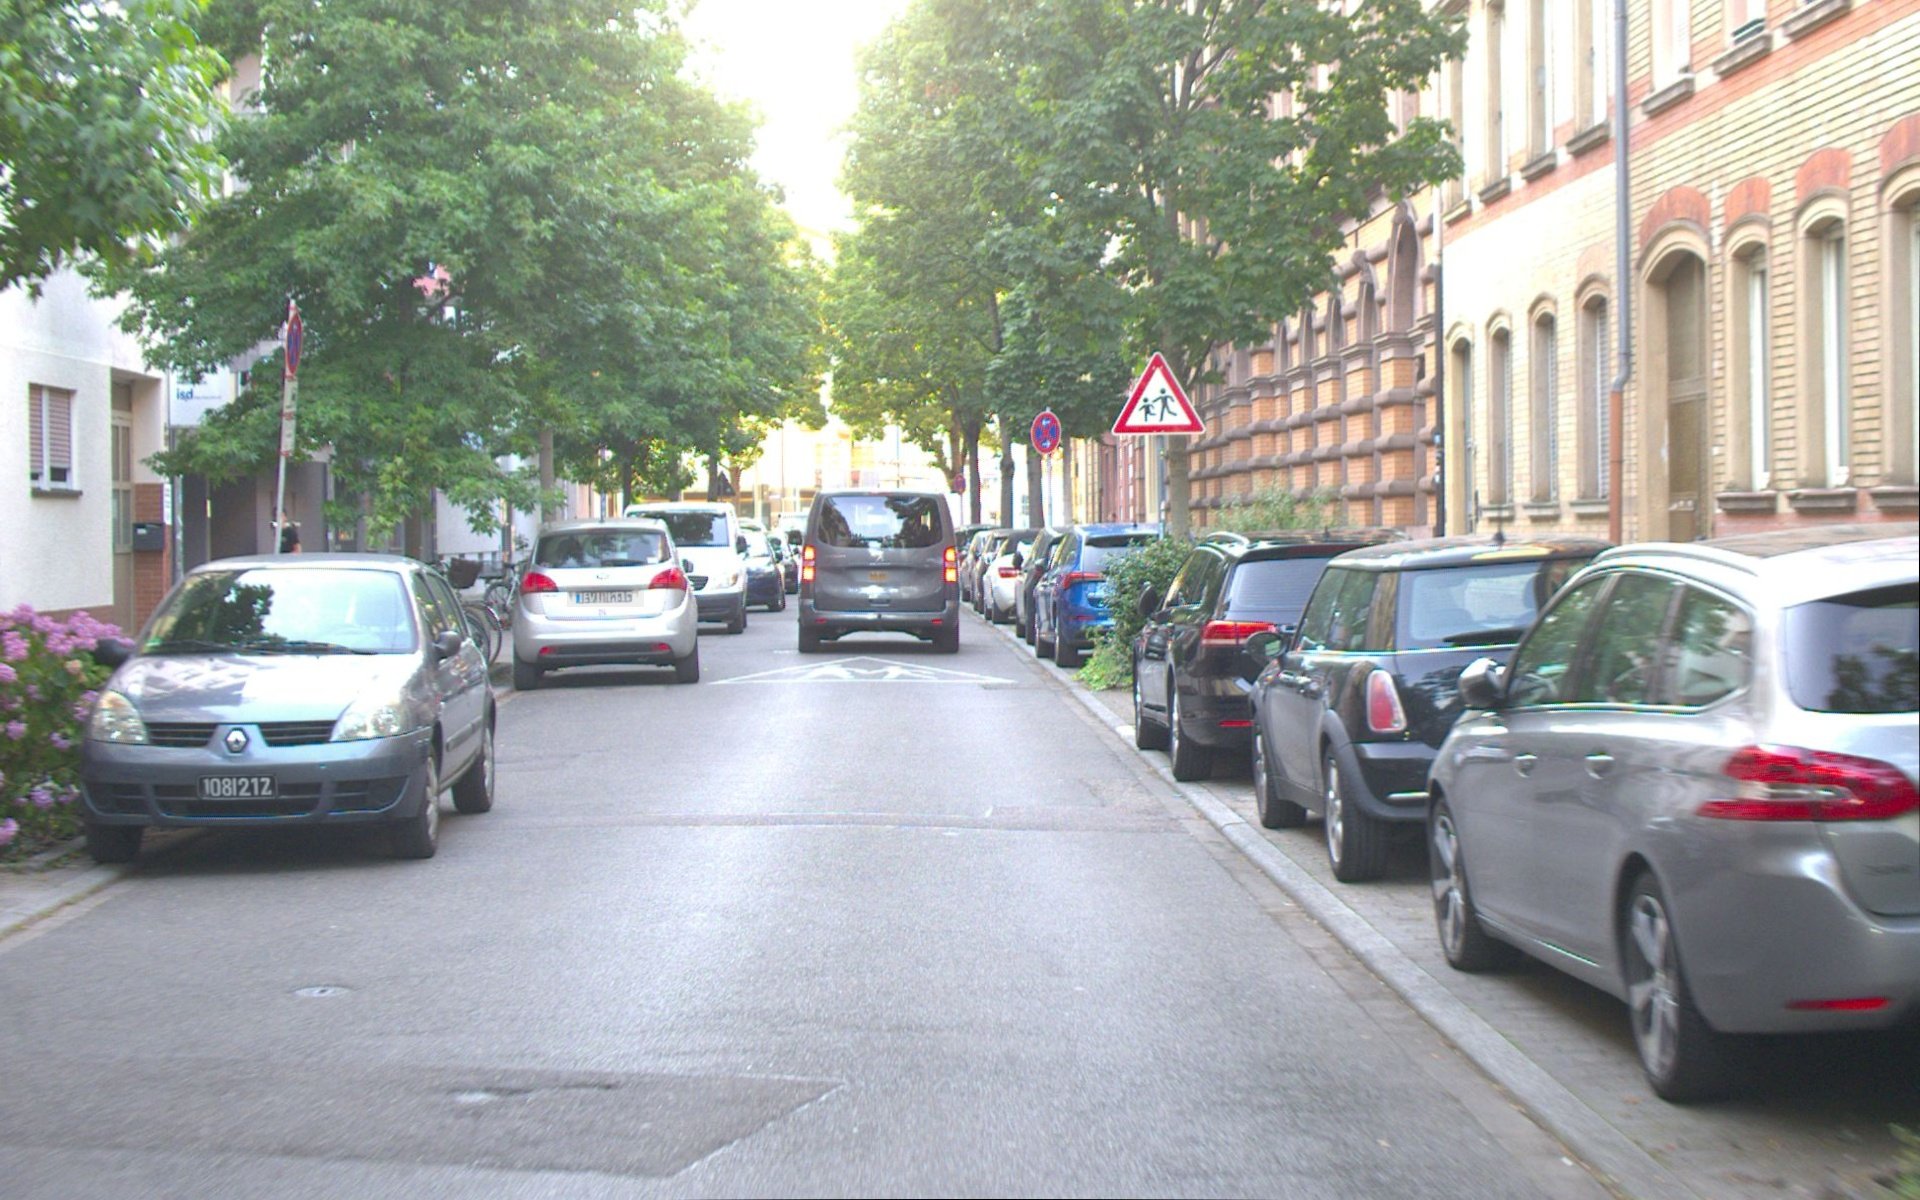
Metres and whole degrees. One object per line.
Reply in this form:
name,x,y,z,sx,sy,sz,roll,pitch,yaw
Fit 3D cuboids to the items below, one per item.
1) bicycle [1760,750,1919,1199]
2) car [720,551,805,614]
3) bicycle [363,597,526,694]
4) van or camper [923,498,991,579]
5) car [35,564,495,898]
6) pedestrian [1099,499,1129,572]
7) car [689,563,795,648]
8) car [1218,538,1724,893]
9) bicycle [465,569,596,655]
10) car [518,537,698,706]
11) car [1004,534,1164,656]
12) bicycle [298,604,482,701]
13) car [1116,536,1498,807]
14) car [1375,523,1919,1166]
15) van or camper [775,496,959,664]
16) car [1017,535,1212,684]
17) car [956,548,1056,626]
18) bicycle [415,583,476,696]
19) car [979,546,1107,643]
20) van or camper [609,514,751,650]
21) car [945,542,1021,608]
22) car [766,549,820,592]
bicycle,2.722,0.814,7.441,1.915,0.978,0.638,-1,1,-23
car,-4.678,-0.439,81.960,1.846,1.446,4.503,0,1,-1
bicycle,-5.441,0.468,36.267,1.728,0.991,0.575,0,1,32
van or camper,-0.122,-2.015,112.515,1.993,2.590,5.425,0,1,-3
car,-3.280,0.549,16.853,1.580,1.415,3.753,-1,1,-2
pedestrian,3.505,-1.461,78.249,0.627,1.643,0.532,0,1,-1
car,-4.027,0.076,63.999,1.830,1.512,4.516,0,1,-2
car,2.242,0.444,15.939,1.635,1.419,3.565,-1,1,-3
bicycle,-6.053,0.159,48.517,0.698,1.159,1.818,0,1,41
car,-3.462,0.169,34.300,1.663,1.558,4.001,-1,1,-4
car,1.525,-0.096,43.517,1.711,1.472,4.193,0,1,-2
bicycle,-5.421,0.493,32.738,1.699,0.904,0.383,0,1,-31
car,2.004,0.354,21.067,1.766,1.410,4.474,-2,1,-1
car,2.505,0.529,10.334,1.716,1.471,4.369,-2,1,-3
van or camper,-1.050,-0.254,40.904,2.035,1.891,4.271,0,1,1
car,1.582,0.062,36.508,1.627,1.461,4.246,-1,1,-3
car,0.923,-0.293,70.524,1.697,1.477,4.001,-2,1,-3
bicycle,-5.182,0.382,34.685,0.419,1.100,1.665,0,1,-2
car,1.243,-0.113,53.284,1.693,1.396,4.647,-1,1,-2
van or camper,-3.988,-0.294,49.552,1.876,1.836,4.754,-1,1,-3
car,0.550,-0.624,84.526,1.611,1.553,3.767,-1,1,-3
car,-5.649,-0.999,116.326,1.741,1.399,3.375,-1,1,-2
